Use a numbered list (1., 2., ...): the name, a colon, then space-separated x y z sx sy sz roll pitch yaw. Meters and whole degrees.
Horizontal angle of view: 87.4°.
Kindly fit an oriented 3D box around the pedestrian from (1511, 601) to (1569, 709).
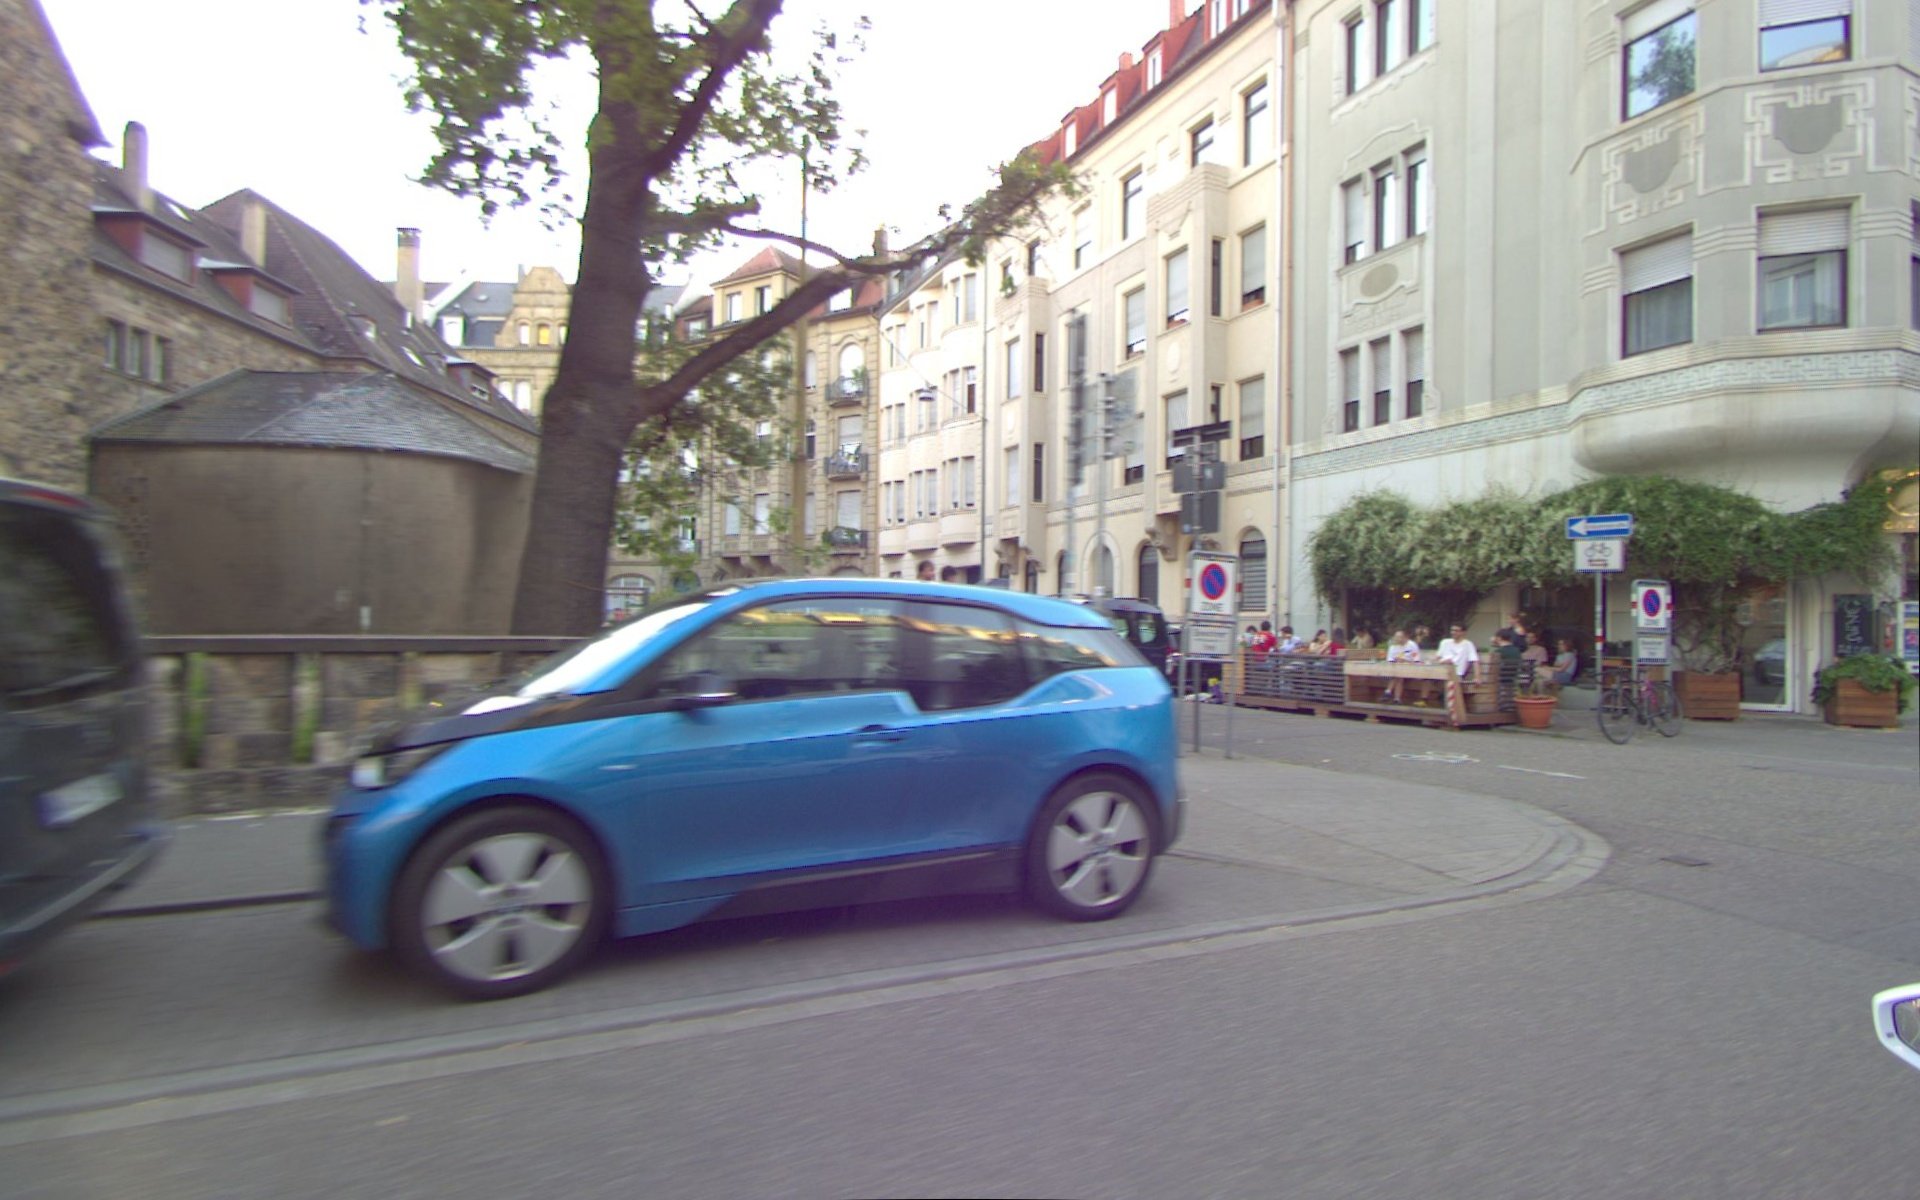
1. pedestrian: 9.342 0.867 16.182 0.561 1.697 0.611 1 -1 -28

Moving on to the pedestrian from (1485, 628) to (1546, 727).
1. pedestrian: 8.585 1.180 15.528 0.636 1.488 0.570 1 -1 -27

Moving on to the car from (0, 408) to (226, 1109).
1. car: -5.337 0.388 2.571 5.215 1.891 1.988 1 -1 -24

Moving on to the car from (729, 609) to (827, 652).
1. car: -8.737 1.433 47.902 5.093 1.884 1.800 1 -3 42

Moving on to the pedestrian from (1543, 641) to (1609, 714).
1. pedestrian: 10.774 1.344 17.578 0.768 1.230 0.689 1 -1 -24

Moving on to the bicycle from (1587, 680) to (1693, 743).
1. bicycle: 9.229 1.491 13.611 1.757 0.705 0.421 -1 0 -28

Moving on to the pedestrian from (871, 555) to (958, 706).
1. pedestrian: -0.559 0.368 12.161 0.826 1.744 0.704 1 -1 -27

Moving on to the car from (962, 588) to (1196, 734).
1. car: 1.612 0.841 15.109 1.863 1.868 3.981 1 -1 -21

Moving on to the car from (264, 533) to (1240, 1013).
1. car: -0.772 0.610 4.840 3.947 1.576 1.637 1 -1 -23

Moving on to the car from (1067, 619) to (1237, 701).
1. car: 4.268 1.308 22.947 1.716 1.639 4.126 4 -3 -24

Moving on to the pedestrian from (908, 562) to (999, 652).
1. pedestrian: -0.085 0.088 11.598 0.826 0.993 0.704 1 -1 -27

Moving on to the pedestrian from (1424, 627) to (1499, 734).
1. pedestrian: 7.608 1.200 15.258 0.773 1.561 0.699 1 -1 -26

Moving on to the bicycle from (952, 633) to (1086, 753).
1. bicycle: 0.588 0.951 10.989 0.547 1.149 2.134 1 -1 -23

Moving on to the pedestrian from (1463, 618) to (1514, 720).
1. pedestrian: 8.686 1.116 16.508 0.539 1.642 0.539 1 -1 -25

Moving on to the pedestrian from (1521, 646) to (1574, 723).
1. pedestrian: 9.802 1.397 16.764 0.598 1.230 0.529 1 -1 -24

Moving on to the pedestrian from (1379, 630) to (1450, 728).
1. pedestrian: 7.192 1.232 15.916 0.773 1.488 0.699 1 -1 -26

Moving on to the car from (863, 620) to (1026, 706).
1. car: -0.440 1.170 20.026 1.698 1.519 4.187 1 -1 -25

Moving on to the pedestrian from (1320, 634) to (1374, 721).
1. pedestrian: 6.541 1.296 16.973 0.636 1.430 0.570 1 -1 -24

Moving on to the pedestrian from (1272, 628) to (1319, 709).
1. pedestrian: 6.461 1.303 19.349 0.636 1.521 0.570 1 -1 -26

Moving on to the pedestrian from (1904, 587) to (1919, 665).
1. pedestrian: 16.948 0.455 17.517 0.511 1.368 0.537 1 0 -24

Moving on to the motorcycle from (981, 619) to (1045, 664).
1. motorcycle: 1.804 1.413 35.088 0.807 1.514 3.390 1 -1 -24

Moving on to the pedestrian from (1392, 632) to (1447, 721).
1. pedestrian: 7.743 1.271 16.922 0.635 1.462 0.570 1 -1 -24

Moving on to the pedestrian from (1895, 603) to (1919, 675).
1. pedestrian: 15.880 0.638 16.475 0.738 1.169 0.555 1 0 -26

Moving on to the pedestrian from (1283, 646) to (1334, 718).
1. pedestrian: 6.110 1.425 17.639 0.566 1.223 0.640 1 -1 -26

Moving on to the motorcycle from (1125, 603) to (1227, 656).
1. motorcycle: 5.651 0.768 26.604 0.807 1.297 3.390 1 -1 -24
